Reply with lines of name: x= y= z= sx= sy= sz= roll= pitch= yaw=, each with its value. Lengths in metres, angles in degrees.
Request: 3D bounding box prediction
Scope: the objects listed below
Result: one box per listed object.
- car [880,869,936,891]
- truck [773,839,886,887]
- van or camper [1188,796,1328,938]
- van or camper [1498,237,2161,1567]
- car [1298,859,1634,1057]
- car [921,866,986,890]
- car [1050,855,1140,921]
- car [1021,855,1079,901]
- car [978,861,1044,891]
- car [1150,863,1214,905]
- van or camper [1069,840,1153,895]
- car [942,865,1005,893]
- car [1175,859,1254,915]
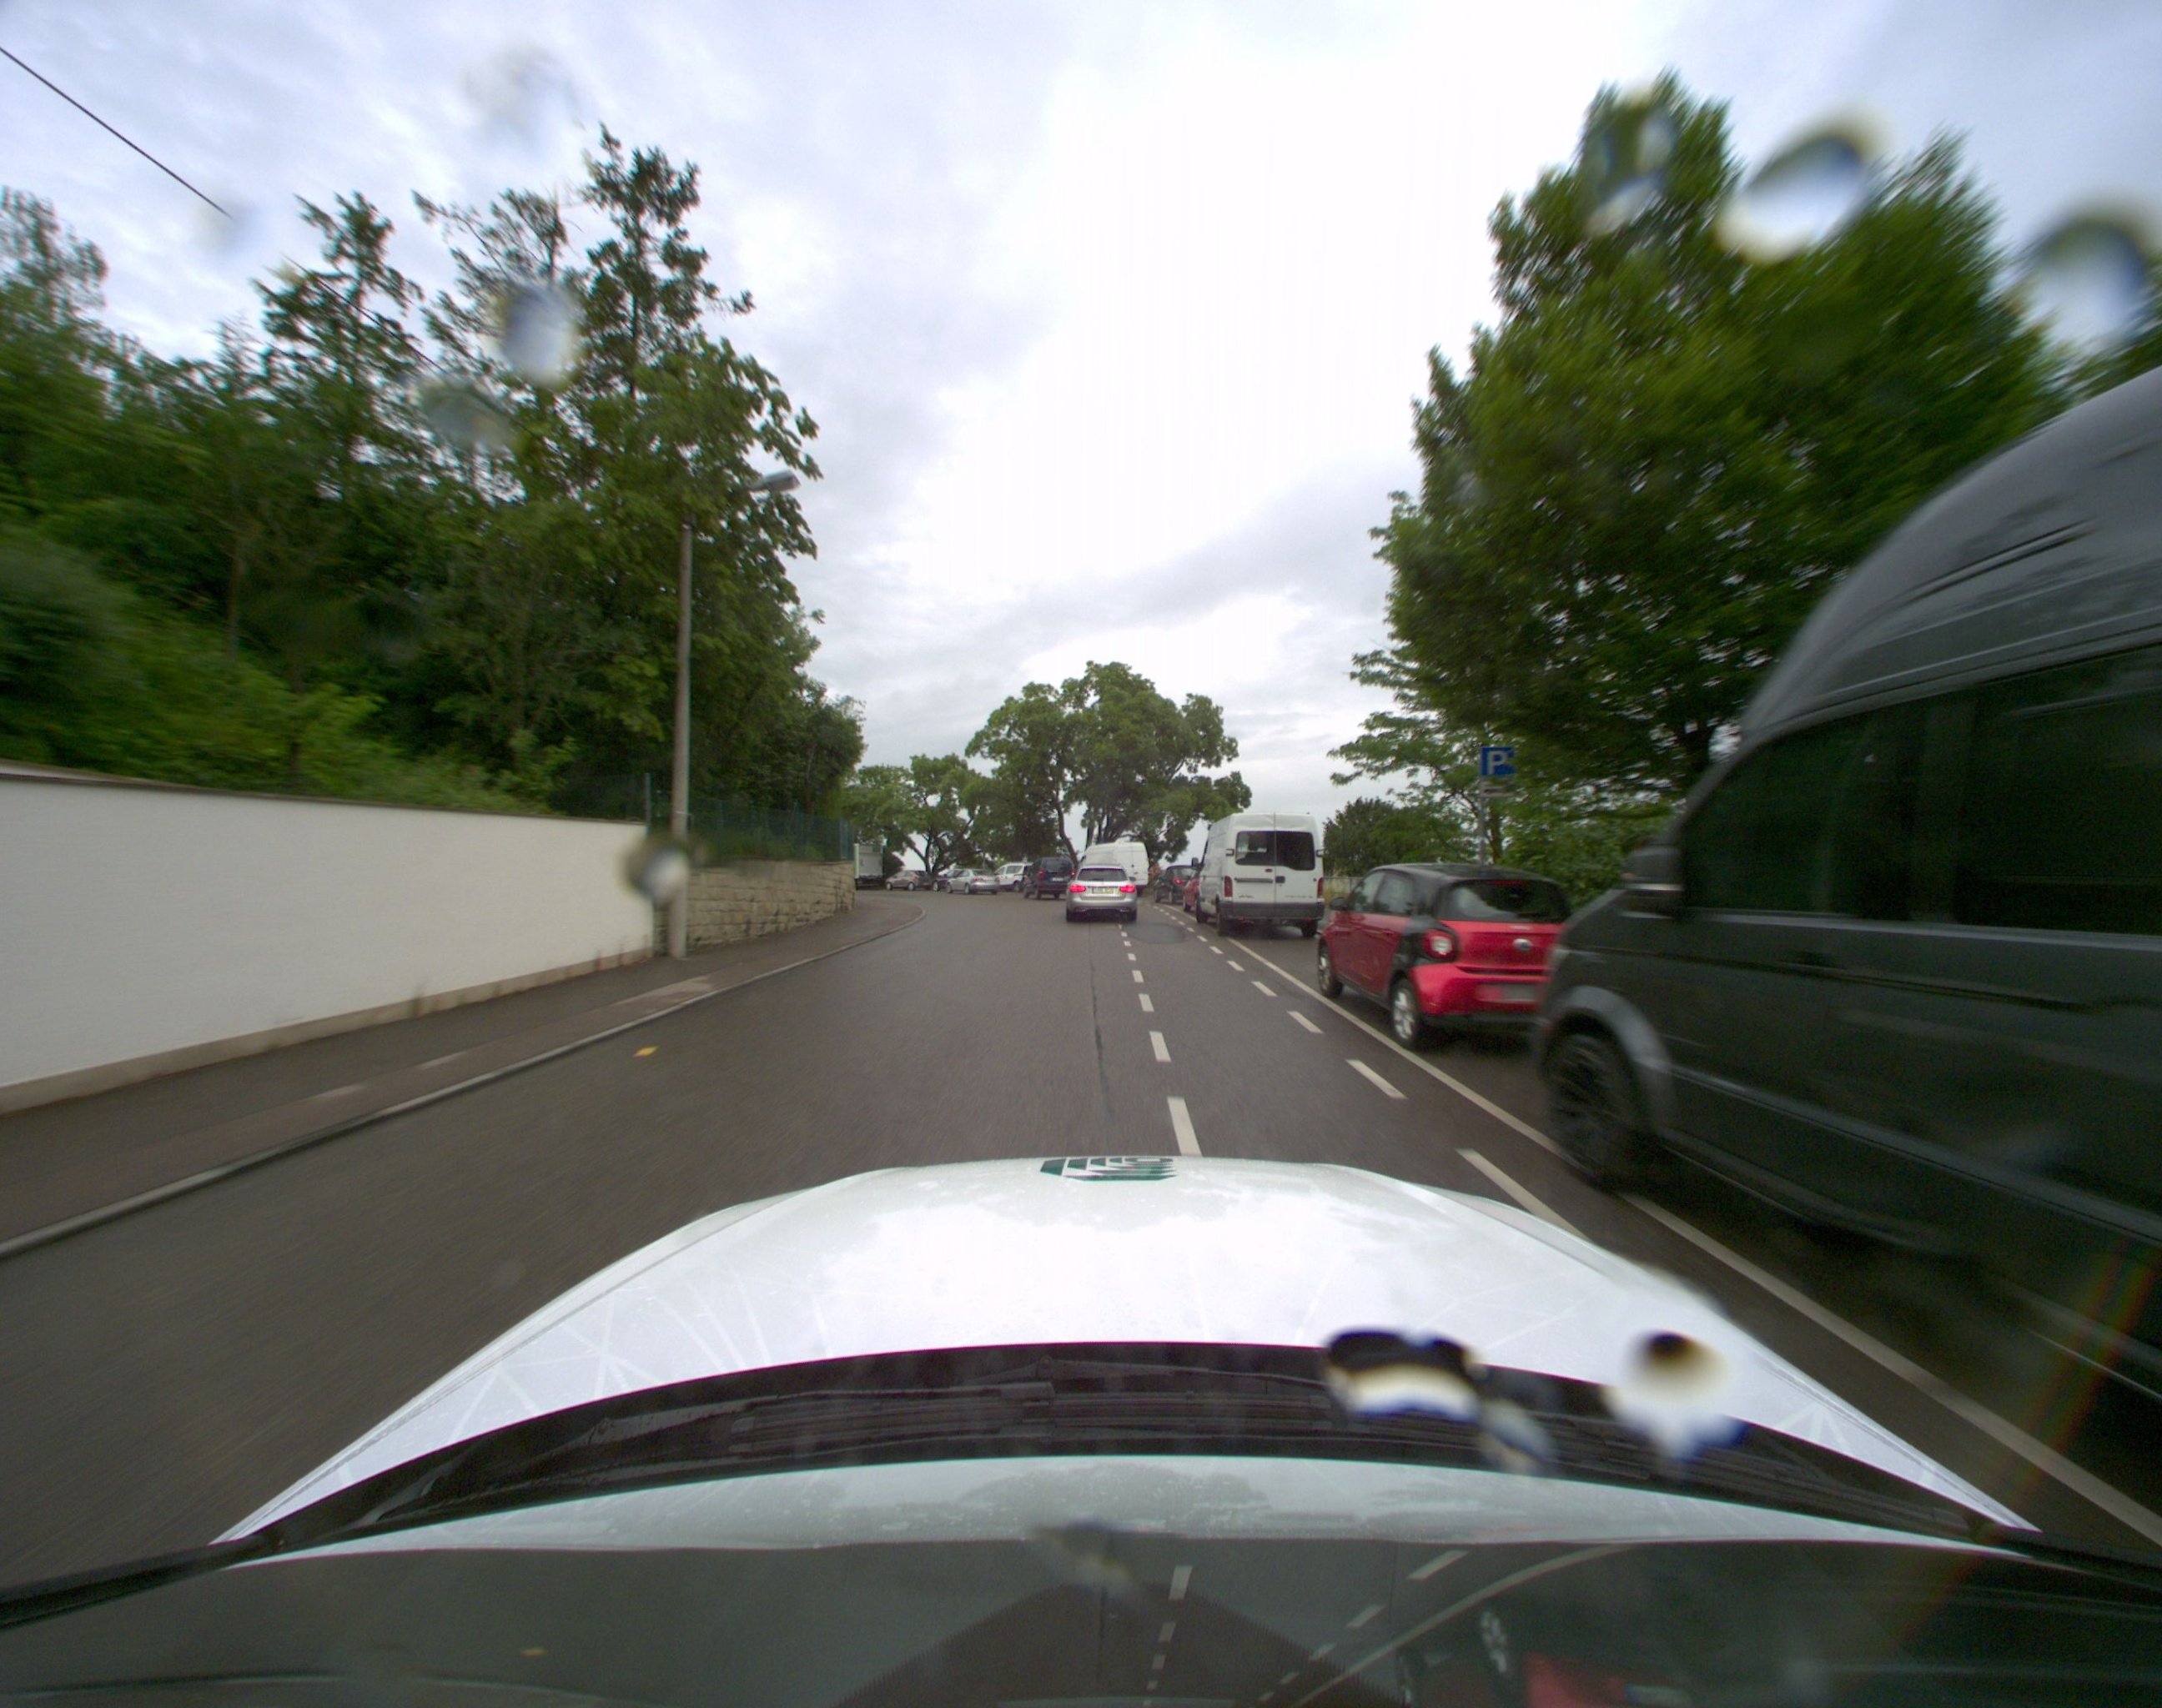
car: x=-12.495 y=1.838 z=58.756 sx=4.082 sy=1.503 sz=1.750 roll=-1 pitch=-1 yaw=38
truck: x=-19.530 y=0.728 z=63.081 sx=8.821 sy=3.471 sz=2.799 roll=-1 pitch=-1 yaw=26
van or camper: x=3.719 y=0.257 z=18.195 sx=2.066 sy=2.661 sz=5.598 roll=0 pitch=0 yaw=2
van or camper: x=3.430 y=0.108 z=1.915 sx=2.116 sy=2.910 sz=5.730 roll=1 pitch=0 yaw=2
car: x=3.514 y=0.820 z=8.272 sx=1.676 sy=1.540 sz=3.834 roll=0 pitch=0 yaw=1
car: x=-8.671 y=1.625 z=55.108 sx=1.877 sy=1.542 sz=4.834 roll=0 pitch=-1 yaw=-44
car: x=0.261 y=0.844 z=21.678 sx=1.979 sy=1.554 sz=4.291 roll=1 pitch=-1 yaw=-4
car: x=-1.431 y=1.017 z=36.010 sx=1.826 sy=1.883 sz=4.076 roll=-1 pitch=-1 yaw=-13
car: x=-4.426 y=1.373 z=51.167 sx=1.762 sy=1.821 sz=4.368 roll=0 pitch=-1 yaw=-44
car: x=3.808 y=1.102 z=31.256 sx=1.692 sy=1.444 sz=3.941 roll=-1 pitch=-1 yaw=-4
van or camper: x=1.410 y=0.660 z=41.502 sx=2.075 sy=2.581 sz=5.843 roll=-1 pitch=-1 yaw=-22
car: x=-6.096 y=1.396 z=45.843 sx=1.867 sy=1.458 sz=4.052 roll=0 pitch=-1 yaw=-34
car: x=3.916 y=0.924 z=24.520 sx=1.615 sy=1.540 sz=4.213 roll=-1 pitch=-1 yaw=-1
